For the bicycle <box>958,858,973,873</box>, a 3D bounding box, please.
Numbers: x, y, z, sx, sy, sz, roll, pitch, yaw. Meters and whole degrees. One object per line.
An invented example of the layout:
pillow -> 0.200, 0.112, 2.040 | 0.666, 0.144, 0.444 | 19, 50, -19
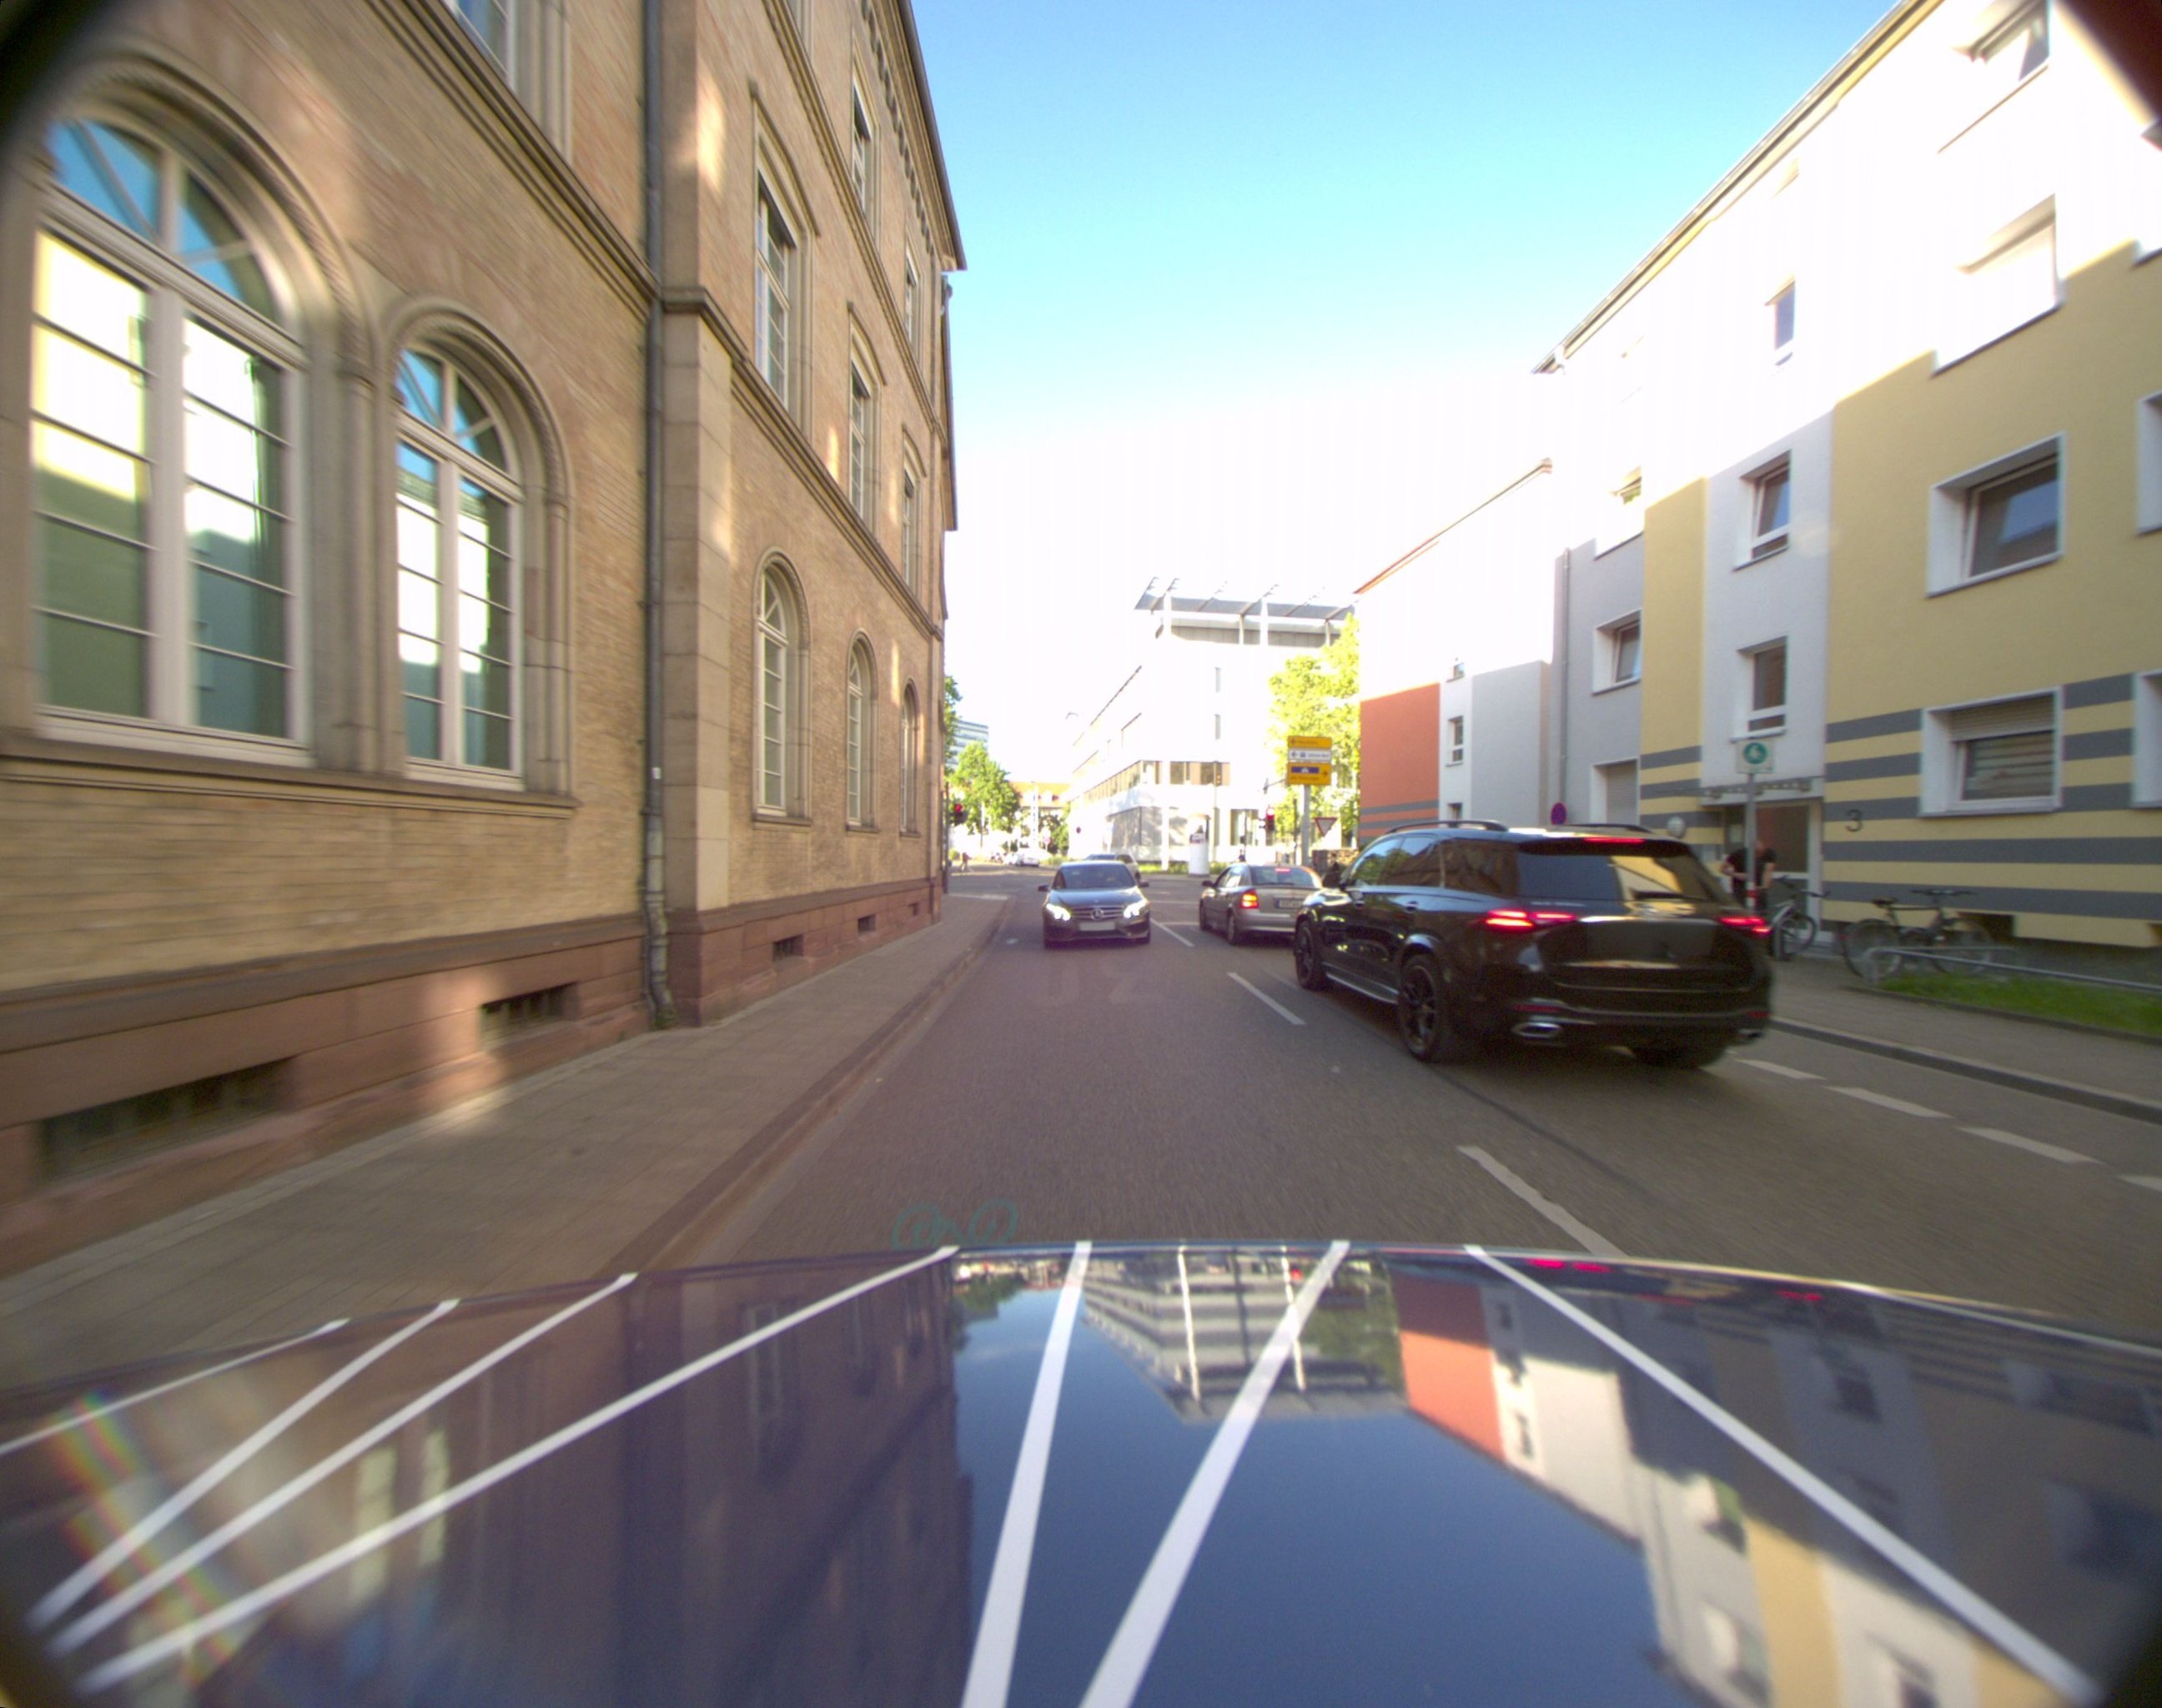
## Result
bicycle -> -8.167, 0.799, 53.793 | 0.943, 1.032, 3.003 | 0, 0, -11

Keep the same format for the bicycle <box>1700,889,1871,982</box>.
bicycle -> 9.262, 1.050, 10.011 | 1.757, 1.139, 0.650 | 1, 1, -7

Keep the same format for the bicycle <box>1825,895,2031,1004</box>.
bicycle -> 9.593, 1.057, 8.632 | 1.757, 1.139, 0.650 | 1, 1, -7

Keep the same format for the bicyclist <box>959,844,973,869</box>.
bicyclist -> -8.116, 0.170, 53.622 | 0.978, 1.797, 1.130 | 0, 1, -10

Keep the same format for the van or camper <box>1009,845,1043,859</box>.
van or camper -> -8.309, -0.242, 115.444 | 4.737, 2.075, 1.996 | 0, 1, -20

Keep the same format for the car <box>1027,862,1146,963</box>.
car -> 0.248, 0.921, 13.919 | 1.798, 1.460, 4.720 | -1, 0, 4

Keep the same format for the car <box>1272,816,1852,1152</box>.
car -> 3.349, 0.720, 6.830 | 1.905, 1.824, 5.094 | 2, 0, 0

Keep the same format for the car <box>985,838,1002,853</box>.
car -> -11.997, -1.109, 104.316 | 2.000, 2.002, 3.996 | 0, 0, -11

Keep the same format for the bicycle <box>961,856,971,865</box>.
bicycle -> -12.069, 0.642, 79.512 | 0.762, 0.944, 3.054 | 0, 0, -13

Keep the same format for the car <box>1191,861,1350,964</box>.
car -> 3.240, 0.923, 13.857 | 1.745, 1.477, 4.136 | 2, 0, -1

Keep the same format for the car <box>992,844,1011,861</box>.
car -> -9.719, -0.192, 92.666 | 2.000, 2.002, 3.996 | 0, 0, -11

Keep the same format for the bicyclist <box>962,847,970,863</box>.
bicyclist -> -12.089, 0.113, 79.550 | 0.762, 1.583, 0.900 | 0, 1, -13

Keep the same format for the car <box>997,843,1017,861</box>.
car -> -8.624, -0.263, 88.102 | 2.000, 2.002, 3.996 | 0, 0, -11

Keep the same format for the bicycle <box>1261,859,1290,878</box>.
bicycle -> 12.678, 0.947, 49.647 | 0.471, 1.175, 1.987 | -1, 1, -37

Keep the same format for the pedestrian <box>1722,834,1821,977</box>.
pedestrian -> 9.376, 0.666, 10.361 | 0.720, 1.844, 0.871 | 1, 1, 22

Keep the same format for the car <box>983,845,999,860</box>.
car -> -12.937, -0.177, 108.696 | 2.000, 2.001, 3.997 | 0, -1, -11

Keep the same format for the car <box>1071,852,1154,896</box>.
car -> 1.331, 0.740, 30.400 | 1.743, 1.594, 4.007 | 1, 1, 28

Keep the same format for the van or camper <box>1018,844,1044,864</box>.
van or camper -> -5.171, -0.057, 78.323 | 2.163, 2.002, 4.971 | 1, 1, -10
